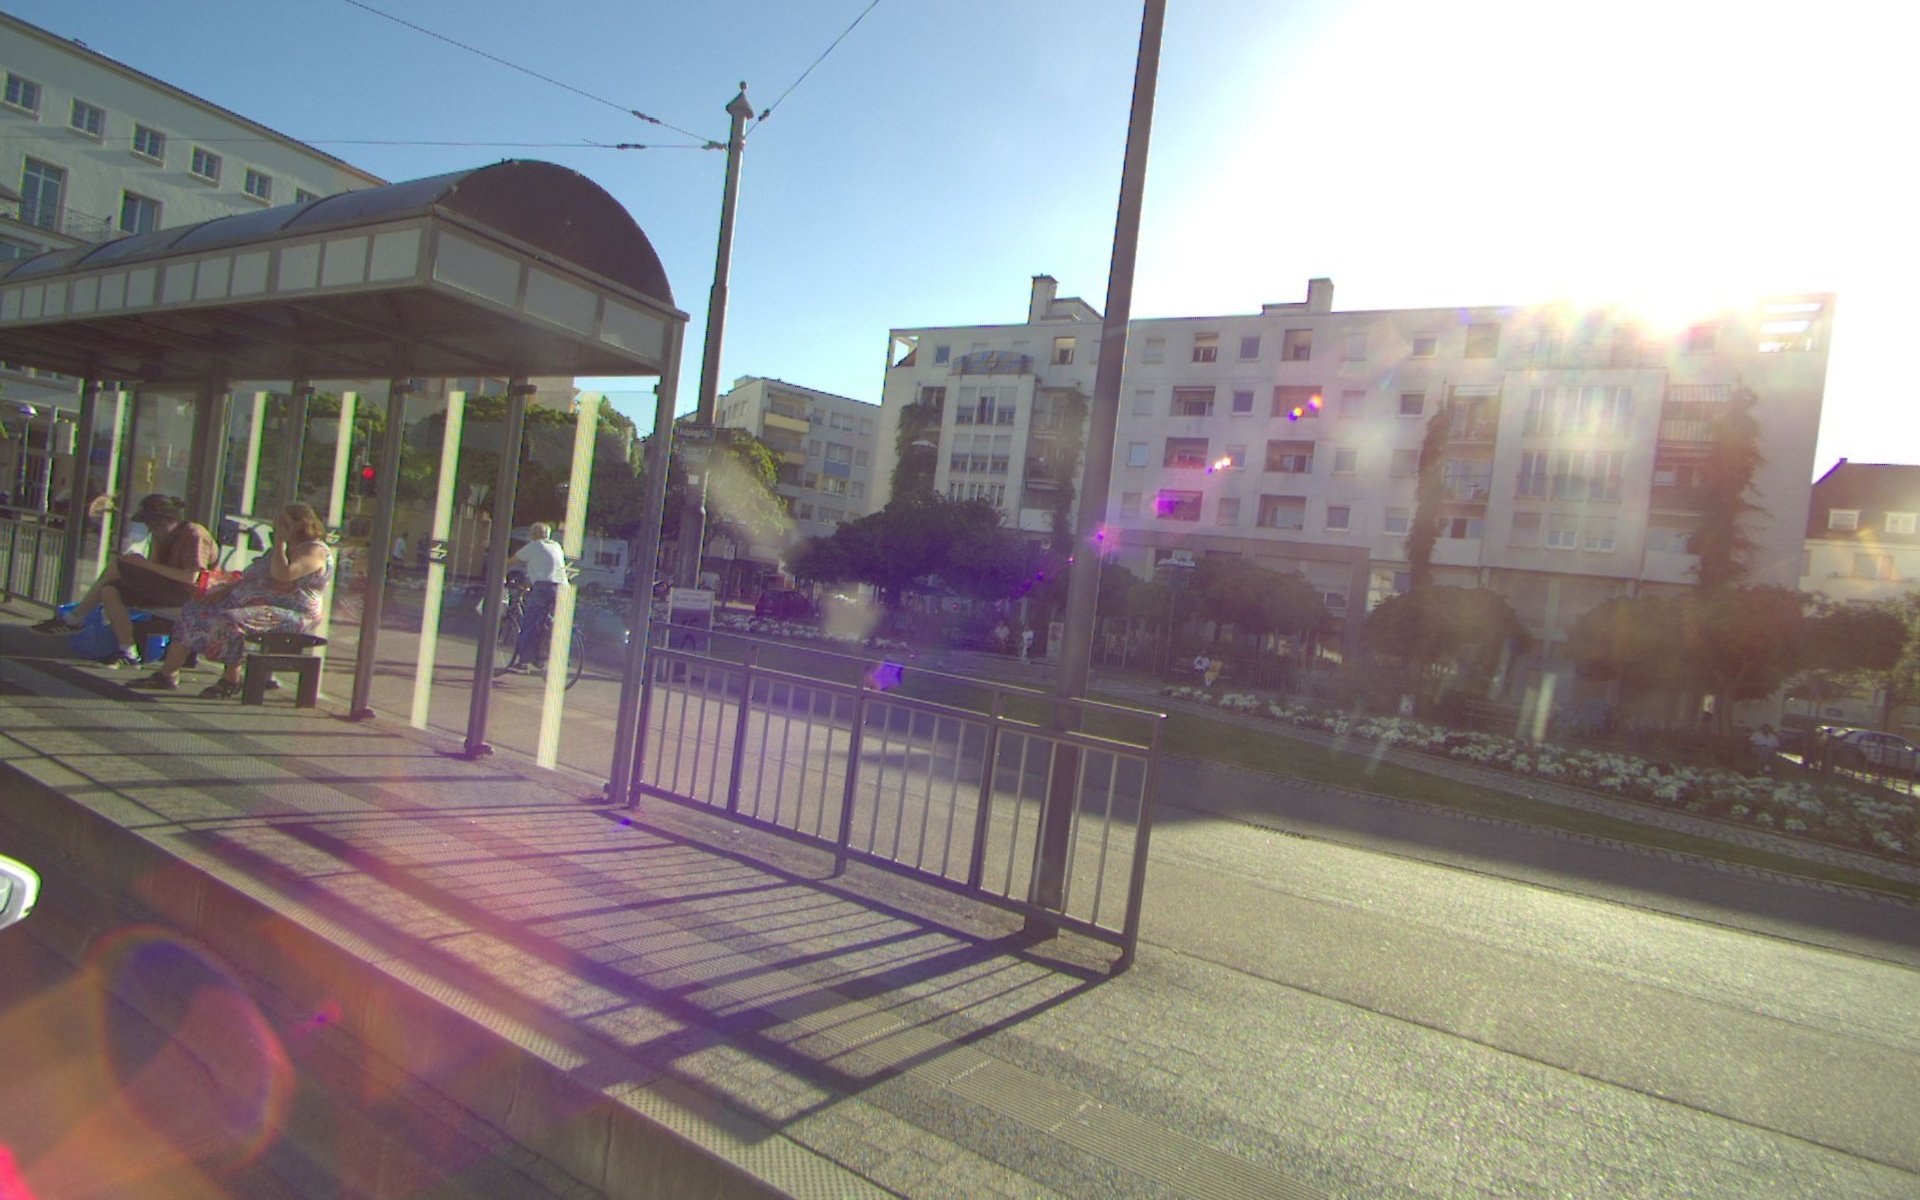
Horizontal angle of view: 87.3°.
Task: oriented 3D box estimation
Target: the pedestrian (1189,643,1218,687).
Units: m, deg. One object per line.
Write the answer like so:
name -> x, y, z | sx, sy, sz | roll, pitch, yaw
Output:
pedestrian -> 7.847, 2.078, 32.415 | 0.718, 1.287, 0.744 | 7, 1, 11

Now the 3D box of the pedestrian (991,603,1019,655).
pedestrian -> 1.618, 1.041, 36.143 | 0.662, 1.746, 1.027 | 7, 1, 11

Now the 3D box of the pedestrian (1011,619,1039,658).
pedestrian -> 2.310, 1.364, 35.852 | 0.718, 1.287, 1.041 | 7, 1, 11

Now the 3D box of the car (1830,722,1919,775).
car -> 35.243, 5.653, 37.540 | 3.940, 1.536, 1.993 | 7, 0, 38

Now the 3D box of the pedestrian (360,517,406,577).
pedestrian -> -17.779, -1.631, 30.985 | 0.685, 1.706, 0.901 | 8, 1, 39

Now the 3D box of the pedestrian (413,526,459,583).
pedestrian -> -16.037, -1.388, 30.810 | 0.651, 1.605, 0.902 | 8, 1, 35

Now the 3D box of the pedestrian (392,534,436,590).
pedestrian -> -17.249, -1.195, 31.794 | 0.651, 1.605, 0.902 | 8, 1, 35

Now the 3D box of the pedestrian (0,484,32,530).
pedestrian -> -29.703, -2.910, 31.513 | 0.736, 1.332, 0.622 | 7, 1, -35

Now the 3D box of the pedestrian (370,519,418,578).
pedestrian -> -16.837, -1.517, 29.942 | 0.651, 1.605, 0.902 | 8, 1, 35

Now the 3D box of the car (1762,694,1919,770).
car -> 41.679, 6.148, 46.622 | 6.283, 2.586, 2.812 | 7, 0, 26

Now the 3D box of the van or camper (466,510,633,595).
van or camper -> -18.200, -2.056, 44.986 | 2.340, 2.874, 6.408 | 7, 0, 35

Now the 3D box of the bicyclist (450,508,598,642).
bicyclist -> -4.647, -0.241, 10.777 | 0.916, 1.240, 0.955 | 8, -1, 16

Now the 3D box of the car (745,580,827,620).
car -> -8.429, 0.047, 49.055 | 1.964, 1.504, 3.999 | 7, 0, 23

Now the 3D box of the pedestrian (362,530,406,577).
pedestrian -> -17.399, -1.403, 30.395 | 0.596, 1.295, 0.901 | 8, 1, 39

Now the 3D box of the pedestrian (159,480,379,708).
pedestrian -> -4.542, -0.016, 6.647 | 0.613, 1.349, 0.861 | 7, -3, 32

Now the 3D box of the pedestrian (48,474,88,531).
pedestrian -> -31.274, -3.419, 35.271 | 0.667, 1.862, 0.784 | 8, 1, 35

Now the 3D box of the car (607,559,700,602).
car -> -15.469, -0.972, 50.894 | 1.973, 1.529, 3.981 | 7, -2, 43

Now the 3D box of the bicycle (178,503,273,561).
bicycle -> -25.271, -2.324, 34.659 | 0.714, 1.549, 2.390 | 8, -1, 31

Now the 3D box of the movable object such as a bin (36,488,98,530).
movable object such as a bin -> -29.801, -3.032, 33.585 | 1.197, 1.167, 1.200 | 7, 0, 32

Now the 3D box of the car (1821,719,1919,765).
car -> 38.290, 5.921, 41.540 | 3.940, 1.304, 1.993 | 7, 0, 38

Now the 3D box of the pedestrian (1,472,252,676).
pedestrian -> -5.900, -0.167, 7.152 | 0.907, 1.239, 1.001 | 7, -3, 32

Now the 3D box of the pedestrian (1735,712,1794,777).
pedestrian -> 19.923, 3.556, 24.915 | 0.923, 1.428, 1.520 | 8, 0, 42

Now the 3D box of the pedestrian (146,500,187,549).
pedestrian -> -26.275, -2.498, 33.300 | 0.742, 1.427, 0.730 | 11, 3, 32

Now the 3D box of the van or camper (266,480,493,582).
van or camper -> -22.157, -2.534, 38.859 | 2.331, 2.781, 7.129 | 9, 1, 32

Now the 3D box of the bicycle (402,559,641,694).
bicycle -> -4.681, 0.280, 10.750 | 2.279, 1.073, 0.721 | 8, -1, 15

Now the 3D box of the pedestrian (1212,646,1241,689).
pedestrian -> 8.546, 2.156, 32.271 | 0.718, 1.287, 0.744 | 7, 1, 11
